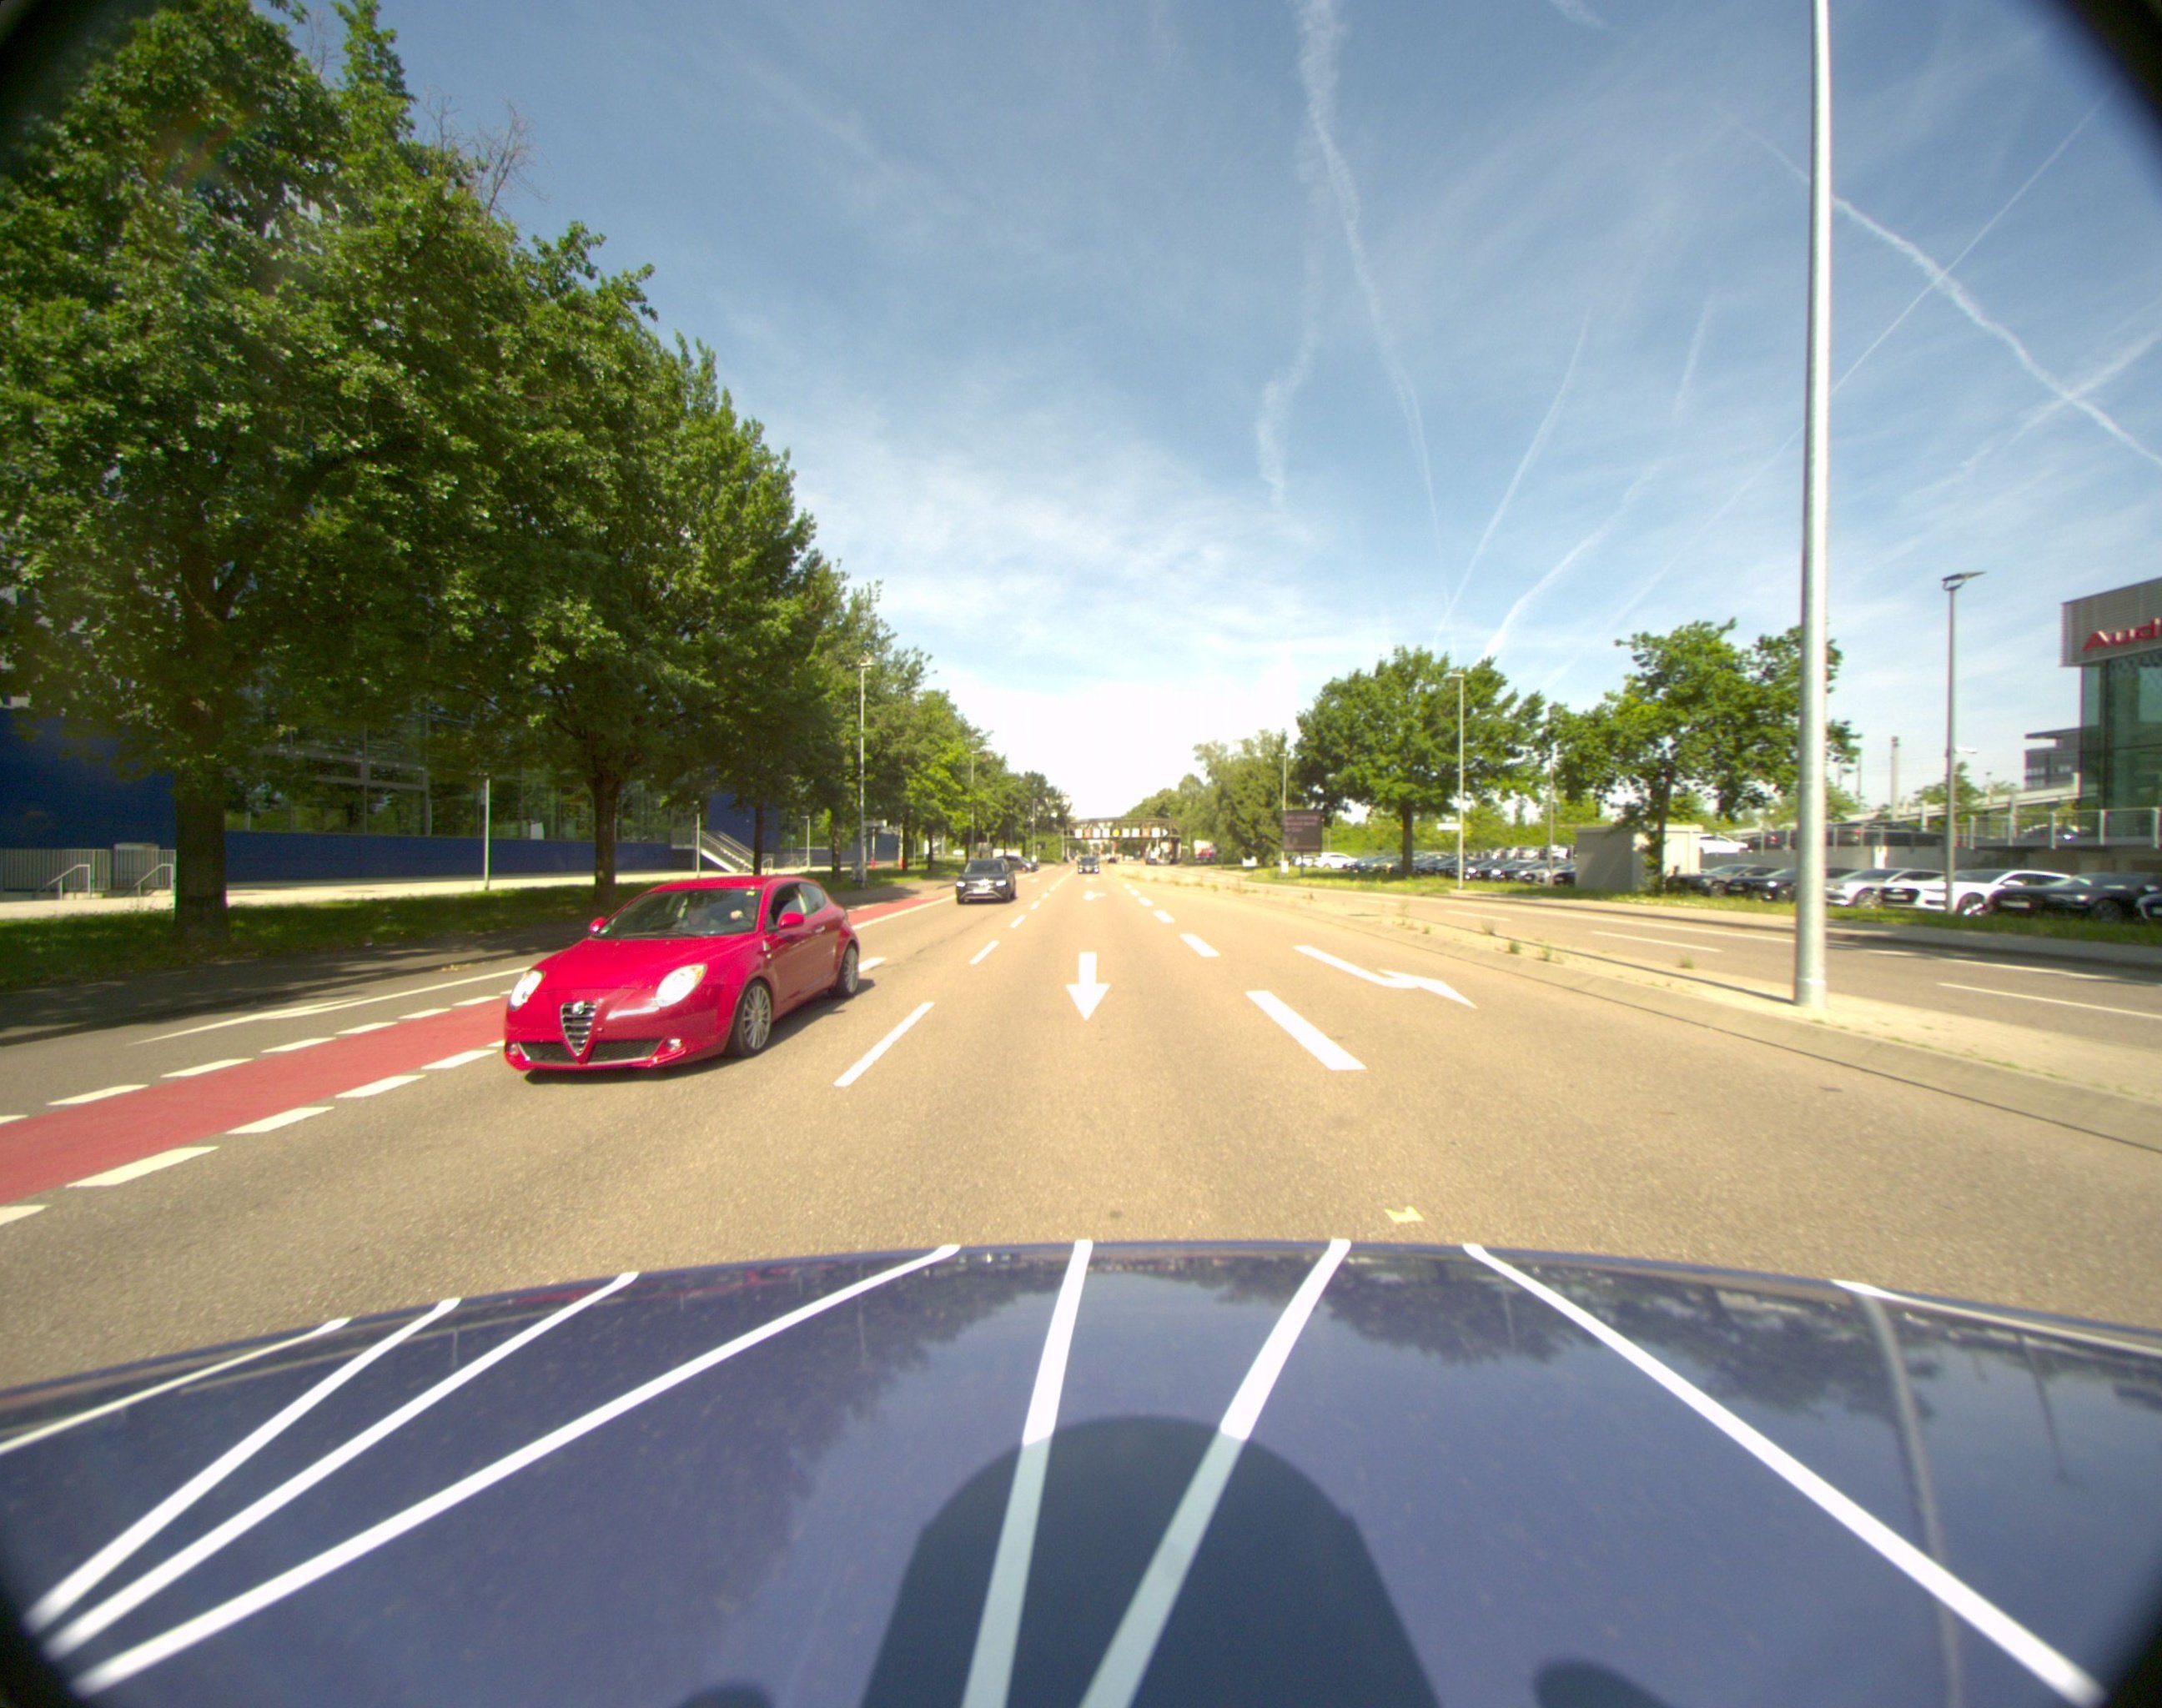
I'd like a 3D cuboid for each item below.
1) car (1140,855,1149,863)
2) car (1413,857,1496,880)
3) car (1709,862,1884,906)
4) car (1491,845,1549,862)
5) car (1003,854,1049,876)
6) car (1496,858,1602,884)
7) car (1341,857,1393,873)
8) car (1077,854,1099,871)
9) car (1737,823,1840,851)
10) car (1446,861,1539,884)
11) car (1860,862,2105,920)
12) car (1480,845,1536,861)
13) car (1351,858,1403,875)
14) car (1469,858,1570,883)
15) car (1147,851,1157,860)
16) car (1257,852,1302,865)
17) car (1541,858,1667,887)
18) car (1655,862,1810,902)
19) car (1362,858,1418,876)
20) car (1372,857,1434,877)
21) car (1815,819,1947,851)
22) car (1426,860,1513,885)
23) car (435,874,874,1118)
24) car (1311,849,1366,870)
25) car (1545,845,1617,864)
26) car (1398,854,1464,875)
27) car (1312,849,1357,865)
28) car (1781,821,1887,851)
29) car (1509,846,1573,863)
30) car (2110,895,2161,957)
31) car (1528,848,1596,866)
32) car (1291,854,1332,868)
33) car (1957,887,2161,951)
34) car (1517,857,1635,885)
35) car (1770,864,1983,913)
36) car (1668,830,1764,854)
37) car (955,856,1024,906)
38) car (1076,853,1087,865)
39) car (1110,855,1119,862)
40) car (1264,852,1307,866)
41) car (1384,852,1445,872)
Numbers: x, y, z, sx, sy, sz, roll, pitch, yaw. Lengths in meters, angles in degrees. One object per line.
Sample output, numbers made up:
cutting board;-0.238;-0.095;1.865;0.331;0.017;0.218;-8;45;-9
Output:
car;13.399;1.093;160.567;1.702;1.510;4.027;2;0;0
car;24.731;0.932;50.424;4.511;1.467;1.979;0;0;-1
car;23.610;0.967;25.177;3.997;1.149;1.897;3;0;-1
car;40.049;-0.015;69.384;4.213;1.468;1.999;-1;0;-2
car;-5.292;1.047;73.241;3.992;2.002;2.002;-1;0;14
car;24.431;0.899;39.759;4.511;1.282;1.691;0;0;-1
car;24.771;0.933;65.885;3.801;1.278;1.744;-1;0;-1
car;0.614;0.729;67.178;1.888;1.427;4.000;-1;0;1
car;40.421;-0.954;43.476;3.997;1.487;2.051;-1;0;0
car;24.469;1.080;45.253;4.511;1.282;1.919;0;0;-1
car;23.676;0.948;20.081;4.185;1.183;1.955;3;0;-1
car;40.594;-0.100;72.316;4.213;1.468;1.999;-1;0;-2
car;24.589;1.026;63.225;3.603;1.277;1.744;2;0;-1
car;24.416;0.912;42.414;4.511;1.282;1.919;0;0;-1
car;14.022;0.253;149.919;1.998;1.608;4.105;2;0;5
car;22.852;0.483;87.471;4.698;1.381;2.000;-1;0;1
car;24.131;0.832;35.183;4.511;1.282;1.919;0;0;-1
car;23.693;0.990;27.727;3.997;1.149;1.897;3;0;-1
car;24.648;1.067;60.723;3.752;1.278;1.663;2;0;-1
car;24.666;0.977;58.310;3.897;1.332;1.840;2;0;-1
car;39.946;-0.918;38.015;4.531;1.487;1.986;-1;0;0
car;24.637;1.172;48.301;4.511;1.467;1.919;0;0;-1
car;-3.389;1.006;7.068;1.798;1.446;3.978;-1;1;0
car;24.193;0.495;71.386;4.474;1.864;2.000;-1;0;2
car;40.713;0.014;61.941;4.511;1.476;1.979;0;0;-1
car;24.392;0.707;53.059;3.689;1.277;1.985;2;0;-1
car;25.578;0.308;76.689;3.995;1.477;1.848;-1;0;4
car;40.322;-0.962;40.744;3.997;1.487;1.668;-1;0;0
car;40.489;0.034;66.916;4.511;1.410;1.890;-1;0;-1
car;23.327;1.555;14.708;4.185;1.183;1.955;3;0;-1
car;40.623;0.263;64.282;4.511;1.476;1.979;0;0;-1
car;23.996;0.718;79.280;3.689;1.363;1.816;-1;0;1
car;23.472;1.513;17.566;4.185;1.183;1.955;3;0;-1
car;24.316;0.828;37.401;4.511;1.282;2.004;0;0;-1
car;23.712;1.004;22.772;4.185;1.149;2.087;3;0;-1
car;40.675;-0.755;48.759;4.511;1.476;1.979;0;0;-1
car;-3.172;0.895;27.082;1.824;1.632;4.112;-1;0;2
car;0.097;0.815;132.613;1.998;2.002;4.000;-1;0;1
car;7.168;0.938;161.284;1.785;1.438;4.120;1;1;1
car;22.764;0.555;84.686;4.224;1.537;2.000;-1;0;1
car;24.411;0.576;55.693;3.603;1.277;1.865;2;0;-1
